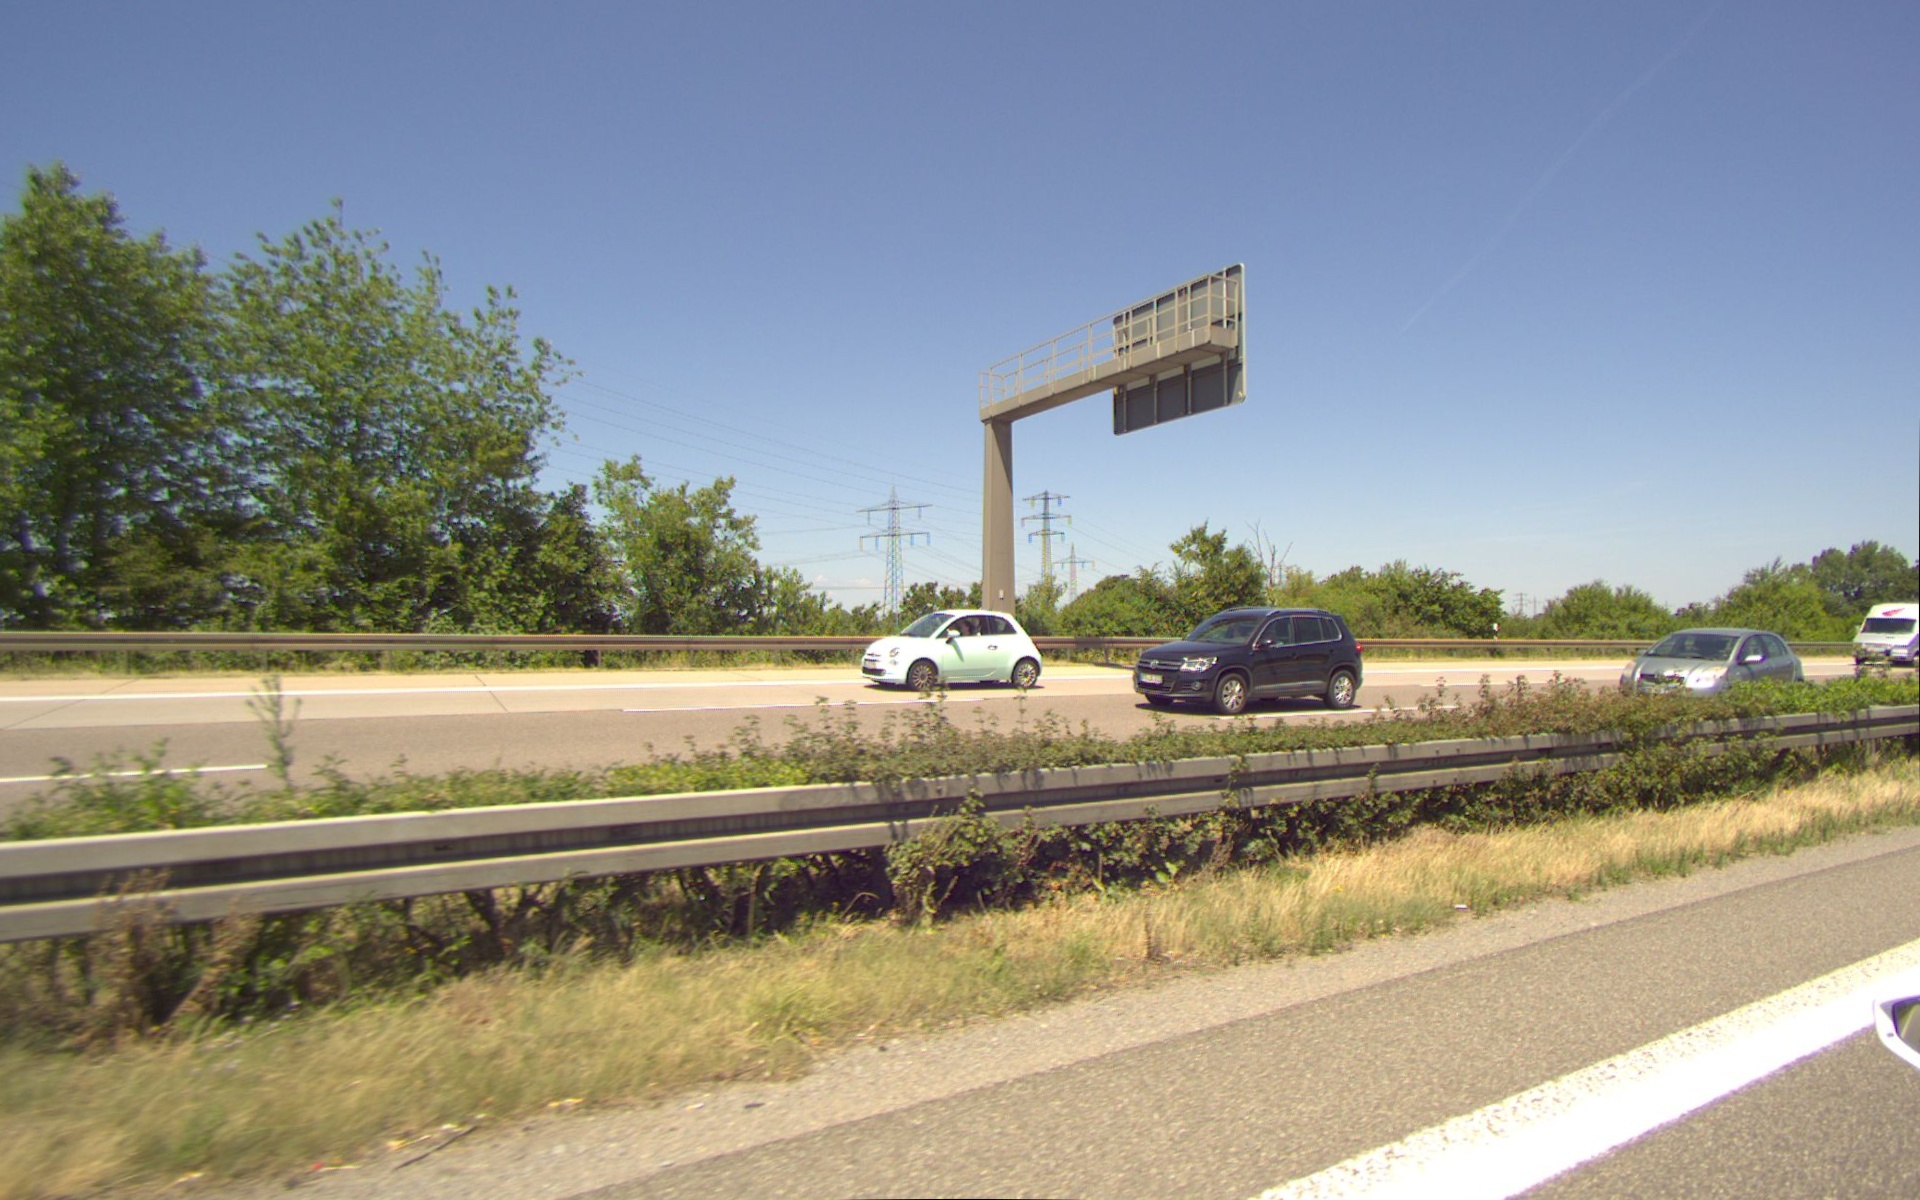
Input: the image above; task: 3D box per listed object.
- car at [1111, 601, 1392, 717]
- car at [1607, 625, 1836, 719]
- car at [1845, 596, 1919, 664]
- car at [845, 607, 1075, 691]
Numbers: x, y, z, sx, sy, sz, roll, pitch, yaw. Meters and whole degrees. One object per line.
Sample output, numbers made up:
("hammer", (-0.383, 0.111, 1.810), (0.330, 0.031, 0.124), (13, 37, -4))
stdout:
("car", (4.973, 0.942, 16.964), (4.554, 1.720, 1.984), (2, -1, -31))
("car", (13.695, 1.237, 18.017), (4.198, 1.485, 1.739), (2, -1, -29))
("car", (40.214, 1.287, 42.400), (7.094, 2.721, 1.985), (2, -1, -29))
("car", (0.019, 0.923, 19.608), (4.040, 1.477, 1.984), (2, -1, -30))
